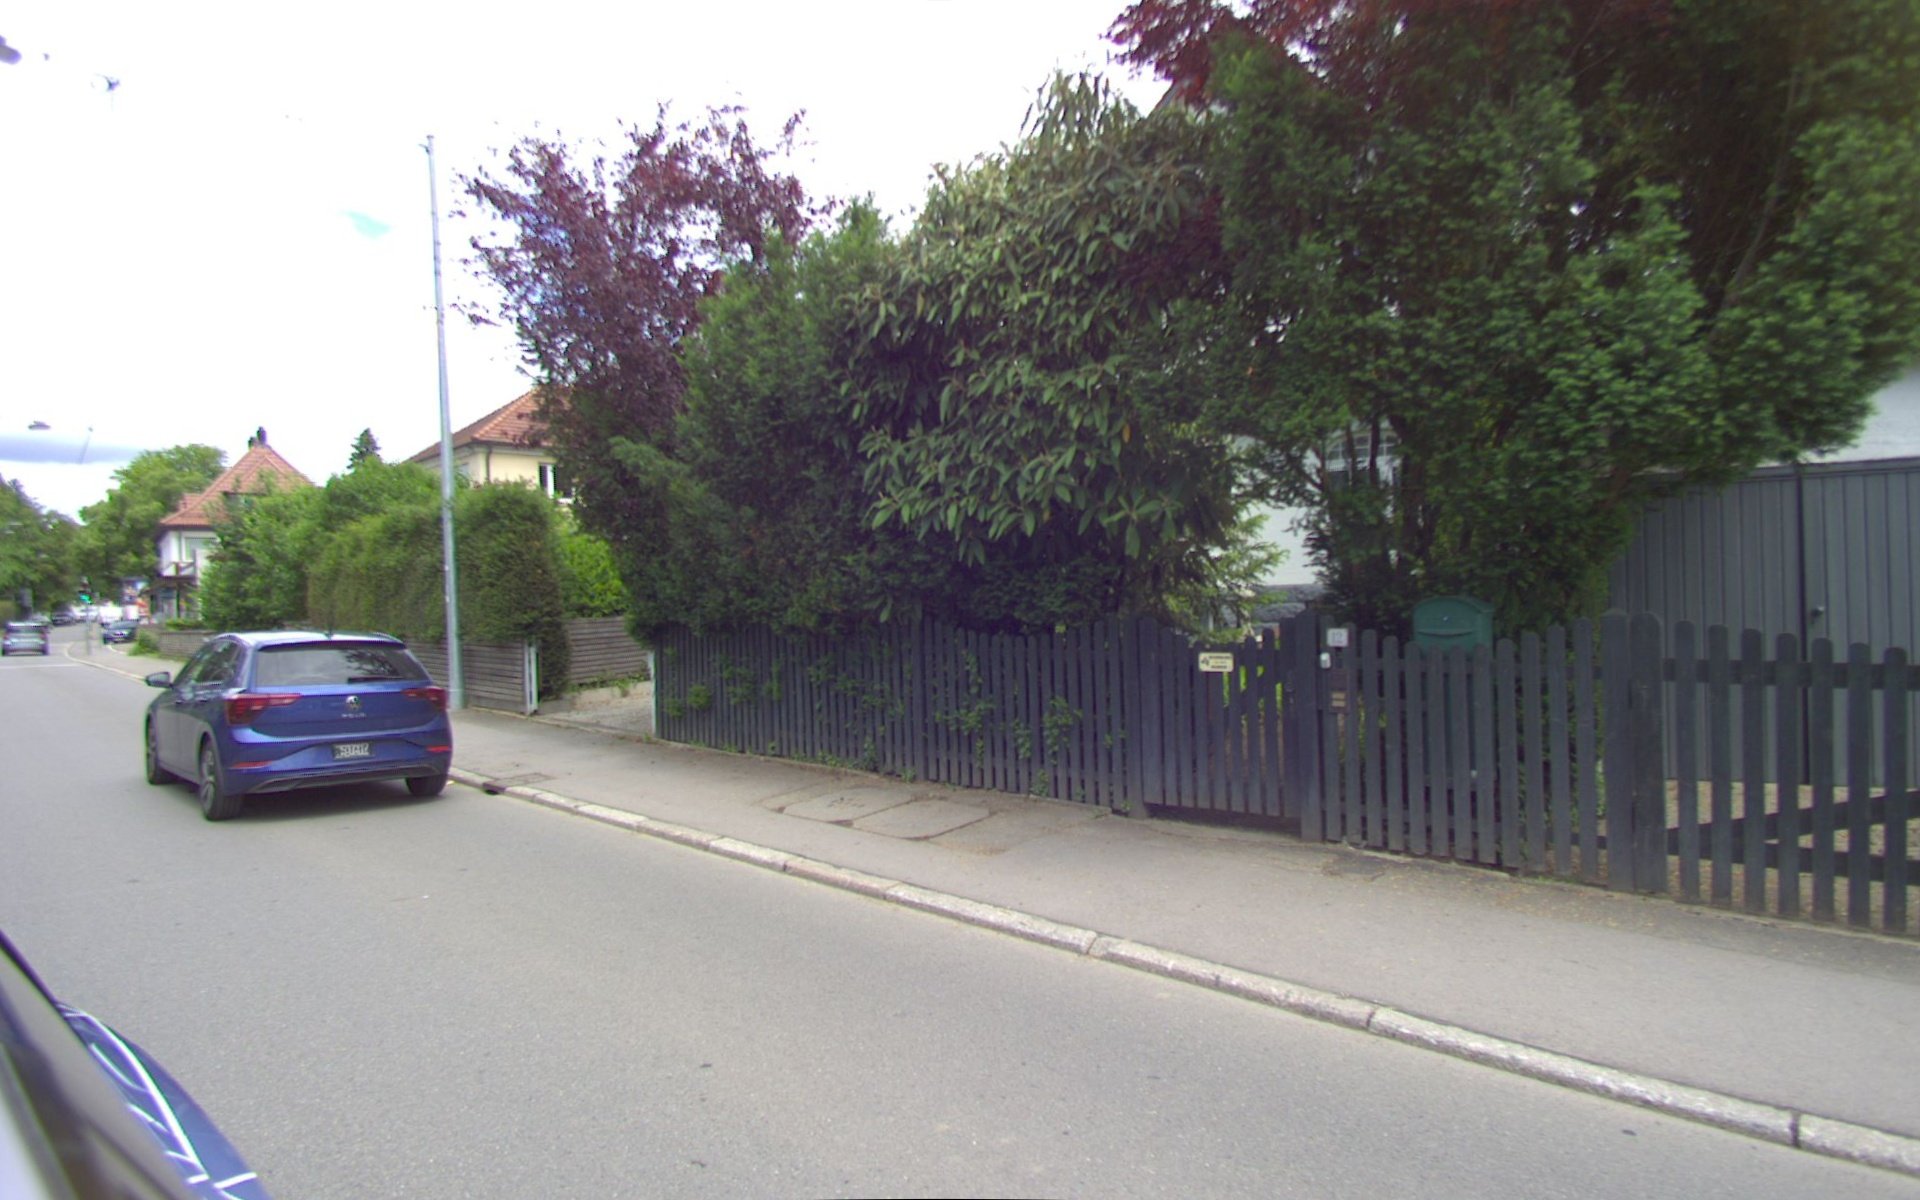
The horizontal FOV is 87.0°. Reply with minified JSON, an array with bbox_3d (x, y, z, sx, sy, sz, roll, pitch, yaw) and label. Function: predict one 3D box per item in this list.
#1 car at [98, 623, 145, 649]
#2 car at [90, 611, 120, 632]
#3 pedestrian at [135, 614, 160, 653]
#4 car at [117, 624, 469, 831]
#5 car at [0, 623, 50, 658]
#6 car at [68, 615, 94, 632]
[{"bbox_3d":[-51.759,2.207,62.533,1.794,1.361,3.401,-4,2,-33],"label":"car"},{"bbox_3d":[-88.330,2.220,104.556,1.859,1.930,4.836,-7,4,-44],"label":"car"},{"bbox_3d":[-38.432,1.589,47.864,0.810,1.757,0.605,-4,2,-43],"label":"pedestrian"},{"bbox_3d":[-6.075,0.941,9.044,3.926,1.443,1.676,-1,-2,42],"label":"car"},{"bbox_3d":[-47.011,2.000,50.684,4.139,1.668,1.820,-1,-2,44],"label":"car"},{"bbox_3d":[-101.960,2.698,117.359,1.971,1.709,4.003,-5,3,-44],"label":"car"}]
